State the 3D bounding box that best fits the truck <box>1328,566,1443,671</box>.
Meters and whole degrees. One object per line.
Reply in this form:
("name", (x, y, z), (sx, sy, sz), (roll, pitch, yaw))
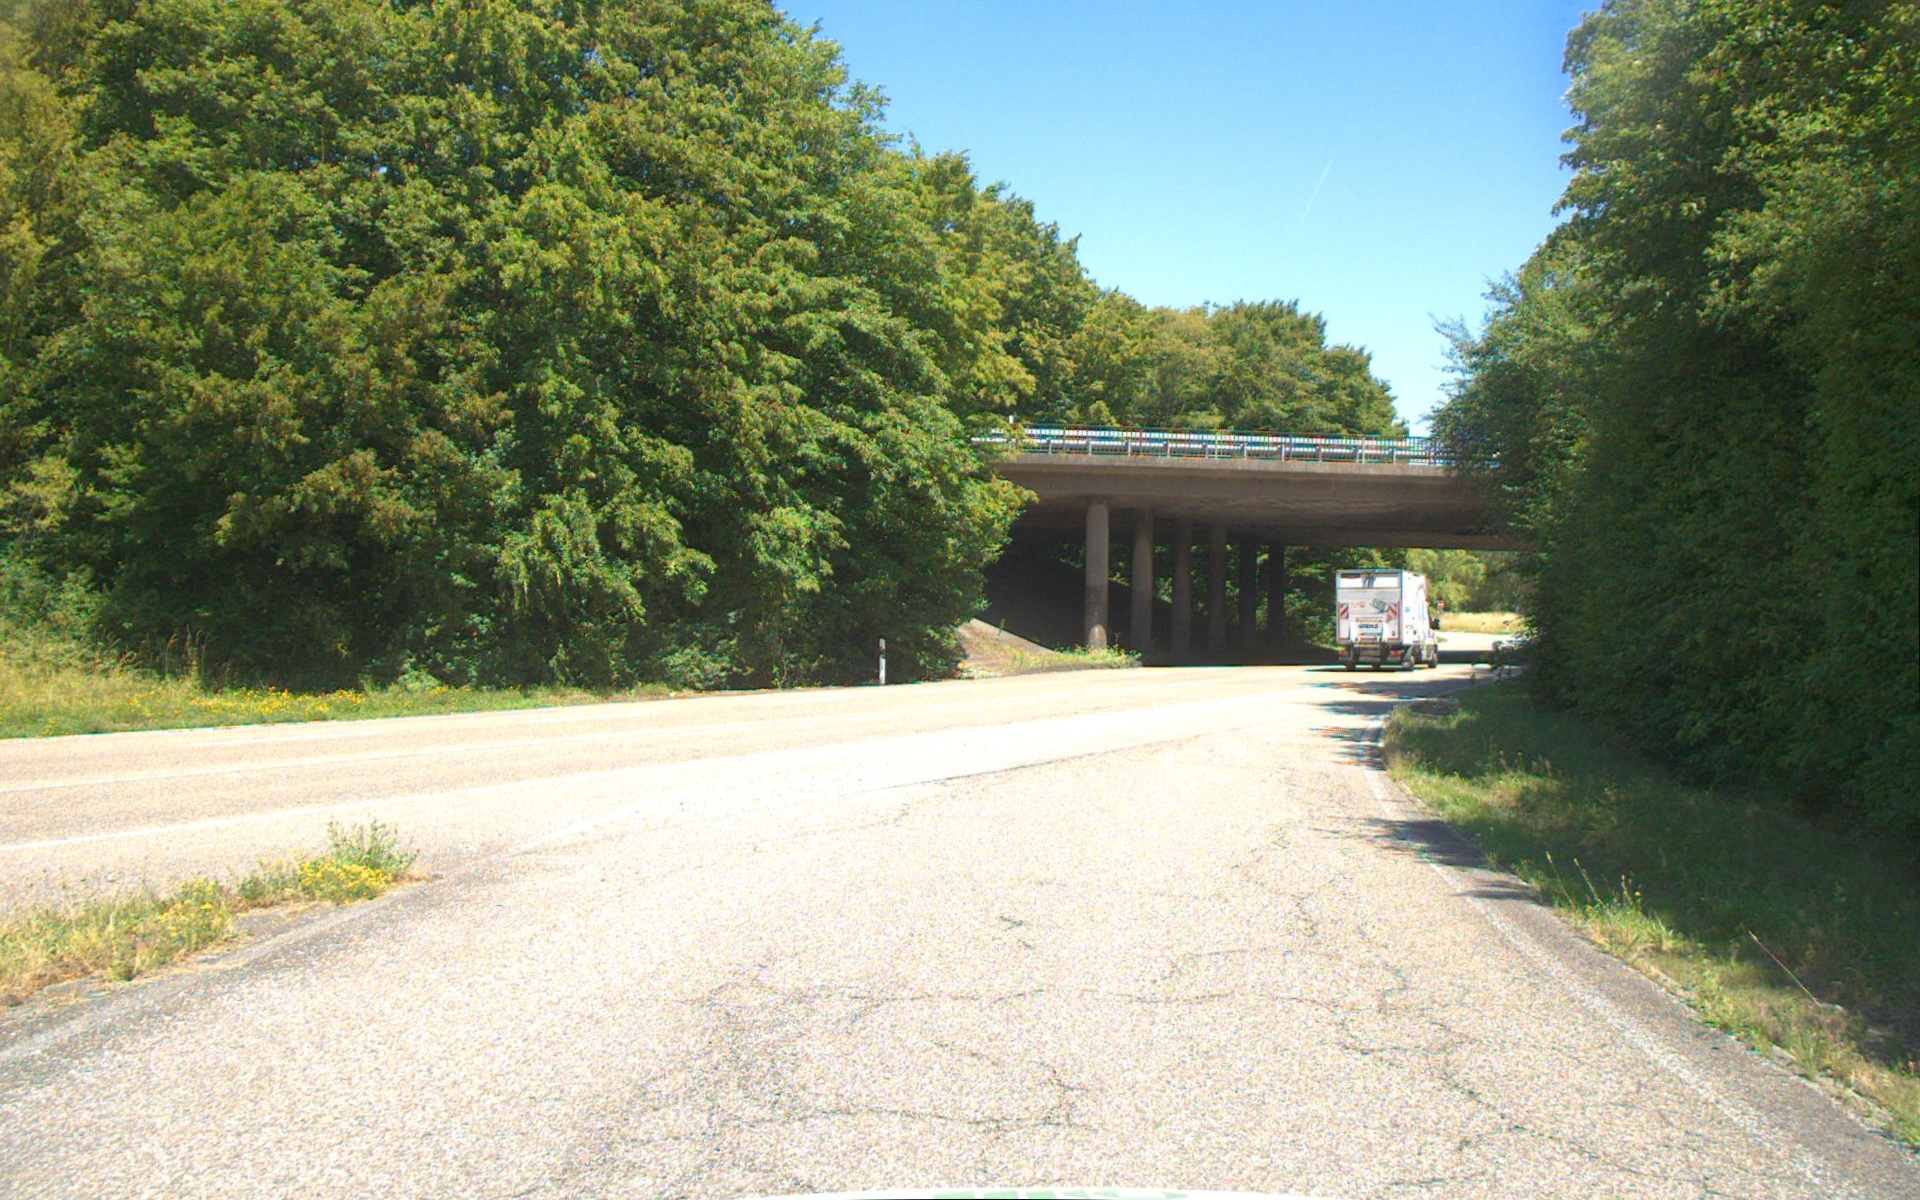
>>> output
("truck", (13.165, 0.586, 50.869), (2.197, 3.037, 5.887), (0, -1, 27))
